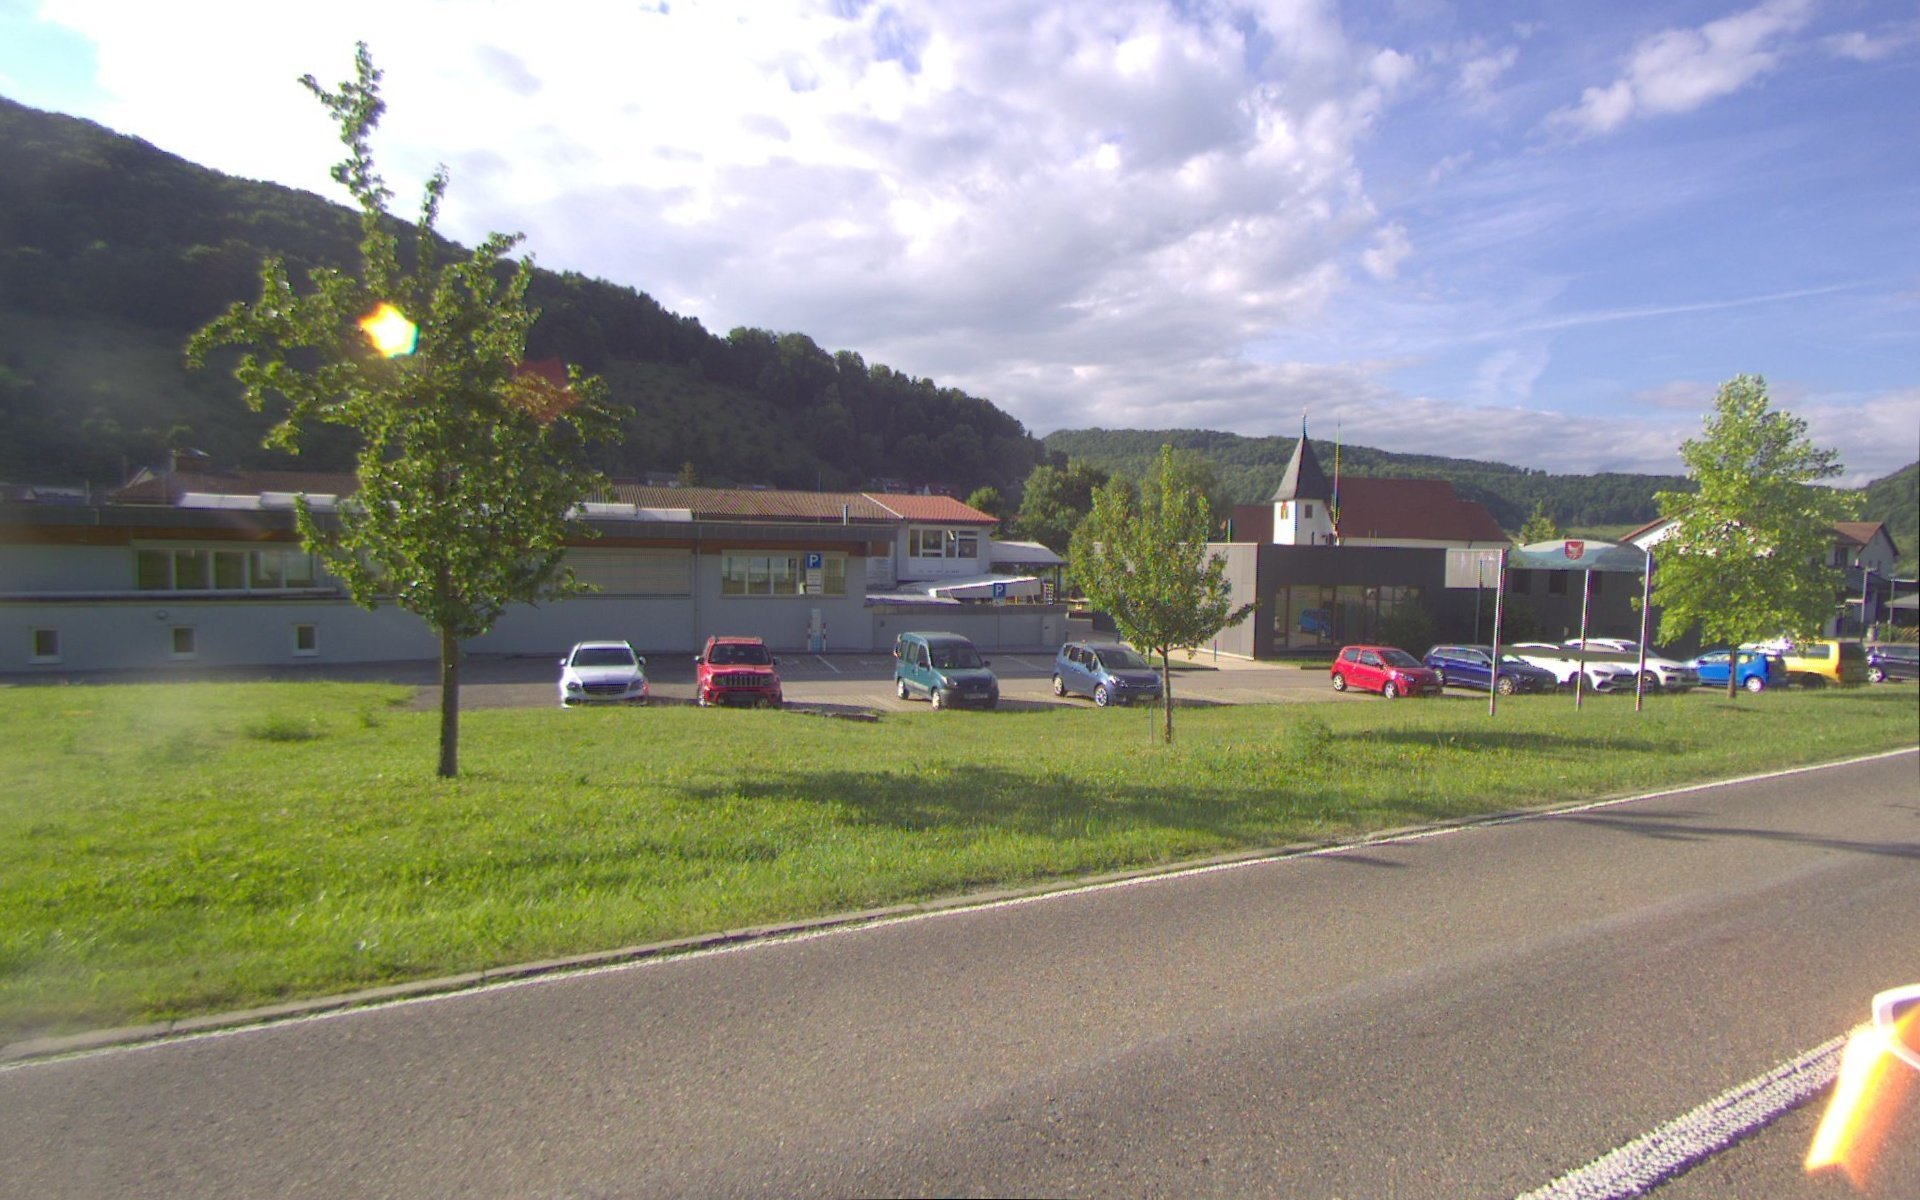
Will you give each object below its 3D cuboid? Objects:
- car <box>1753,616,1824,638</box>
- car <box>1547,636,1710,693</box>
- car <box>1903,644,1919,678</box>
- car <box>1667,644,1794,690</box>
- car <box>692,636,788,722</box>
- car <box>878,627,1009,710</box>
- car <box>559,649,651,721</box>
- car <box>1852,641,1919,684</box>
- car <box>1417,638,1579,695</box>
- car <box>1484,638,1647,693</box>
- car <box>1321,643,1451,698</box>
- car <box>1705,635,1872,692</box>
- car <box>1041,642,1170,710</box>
[{"bbox_3d":[59.491,1.926,72.130,3.928,1.461,1.767,2,0,-10],"label":"car"},{"bbox_3d":[23.819,2.265,36.014,1.971,1.725,4.530,2,0,-22],"label":"car"},{"bbox_3d":[45.006,2.811,44.164,1.854,1.513,4.804,2,0,-22],"label":"car"},{"bbox_3d":[29.111,2.516,38.051,1.610,1.492,3.484,2,0,-24],"label":"car"},{"bbox_3d":[-5.354,1.806,24.078,1.818,1.691,4.318,2,0,-18],"label":"car"},{"bbox_3d":[-0.556,1.731,26.601,1.661,1.817,4.978,2,0,-24],"label":"car"},{"bbox_3d":[-8.286,1.913,23.393,1.825,1.386,3.880,2,-1,-21],"label":"car"},{"bbox_3d":[40.776,2.681,42.550,1.971,1.659,4.017,2,0,-22],"label":"car"},{"bbox_3d":[17.751,2.148,33.401,1.971,1.575,4.530,2,0,-22],"label":"car"},{"bbox_3d":[20.763,2.210,34.658,1.971,1.575,4.530,2,0,-22],"label":"car"},{"bbox_3d":[13.189,2.162,31.312,1.592,1.416,3.713,2,0,-22],"label":"car"},{"bbox_3d":[31.701,2.385,38.628,1.969,1.893,4.606,2,0,-18],"label":"car"},{"bbox_3d":[3.902,2.016,27.628,1.661,1.471,3.997,-1,1,-24],"label":"car"}]
